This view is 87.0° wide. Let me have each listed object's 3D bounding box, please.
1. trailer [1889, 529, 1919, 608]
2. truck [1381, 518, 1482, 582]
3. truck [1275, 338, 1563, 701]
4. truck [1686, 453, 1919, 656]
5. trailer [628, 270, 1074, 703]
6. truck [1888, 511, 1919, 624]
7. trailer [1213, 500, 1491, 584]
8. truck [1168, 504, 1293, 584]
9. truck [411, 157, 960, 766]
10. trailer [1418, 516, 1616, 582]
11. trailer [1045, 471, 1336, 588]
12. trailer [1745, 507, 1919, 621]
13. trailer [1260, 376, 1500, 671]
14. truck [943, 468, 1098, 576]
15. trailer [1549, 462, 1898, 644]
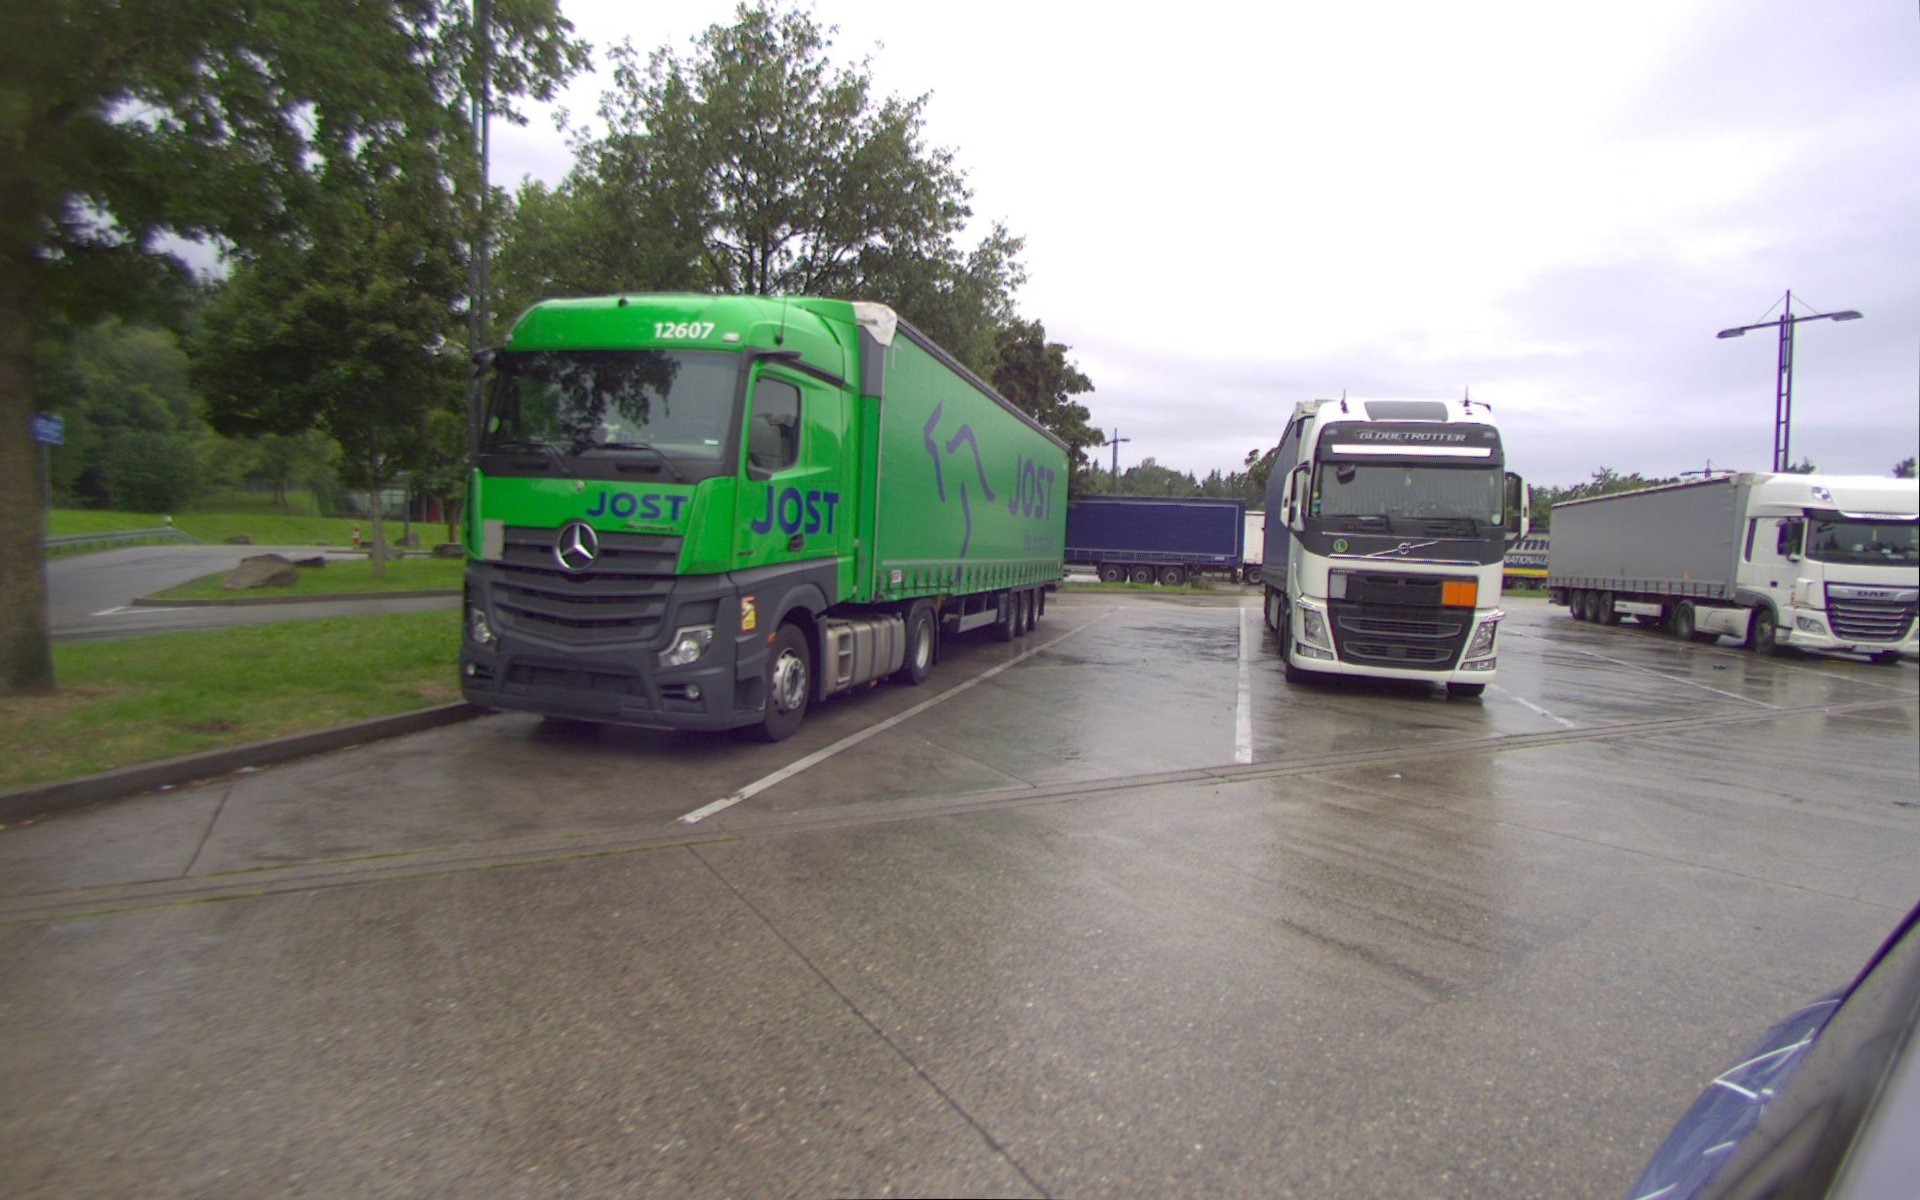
[{"bbox_3d":[48.116,-1.210,44.660,3.197,3.966,14.783,3,3,12],"label":"trailer"},{"bbox_3d":[28.785,-3.029,61.970,5.261,3.802,2.061,0,0,14],"label":"truck"},{"bbox_3d":[6.208,-1.115,14.642,2.787,4.195,5.280,3,3,15],"label":"truck"},{"bbox_3d":[19.157,-1.008,22.602,2.790,3.960,5.389,3,3,14],"label":"truck"},{"bbox_3d":[-0.444,-1.507,16.963,2.785,4.199,13.916,3,3,14],"label":"trailer"},{"bbox_3d":[34.249,-0.955,32.654,2.802,3.966,8.092,3,3,16],"label":"truck"},{"bbox_3d":[21.082,-3.072,55.542,13.965,4.311,2.655,0,0,16],"label":"trailer"},{"bbox_3d":[15.250,-3.082,57.238,6.688,4.329,2.655,0,0,16],"label":"truck"},{"bbox_3d":[-2.124,-1.150,10.267,2.785,4.199,5.975,3,3,14],"label":"truck"},{"bbox_3d":[33.262,-3.014,60.840,10.235,3.802,2.061,0,0,14],"label":"trailer"},{"bbox_3d":[9.921,-3.142,44.486,11.862,4.528,3.245,3,3,15],"label":"trailer"},{"bbox_3d":[36.044,-1.377,39.054,2.829,3.966,16.559,3,4,16],"label":"trailer"},{"bbox_3d":[8.109,-1.500,21.605,2.787,4.221,13.935,3,3,15],"label":"trailer"},{"bbox_3d":[2.813,-3.551,46.450,6.443,4.562,3.245,3,3,15],"label":"truck"},{"bbox_3d":[20.939,-1.410,29.409,2.804,3.966,13.897,3,4,15],"label":"trailer"}]
